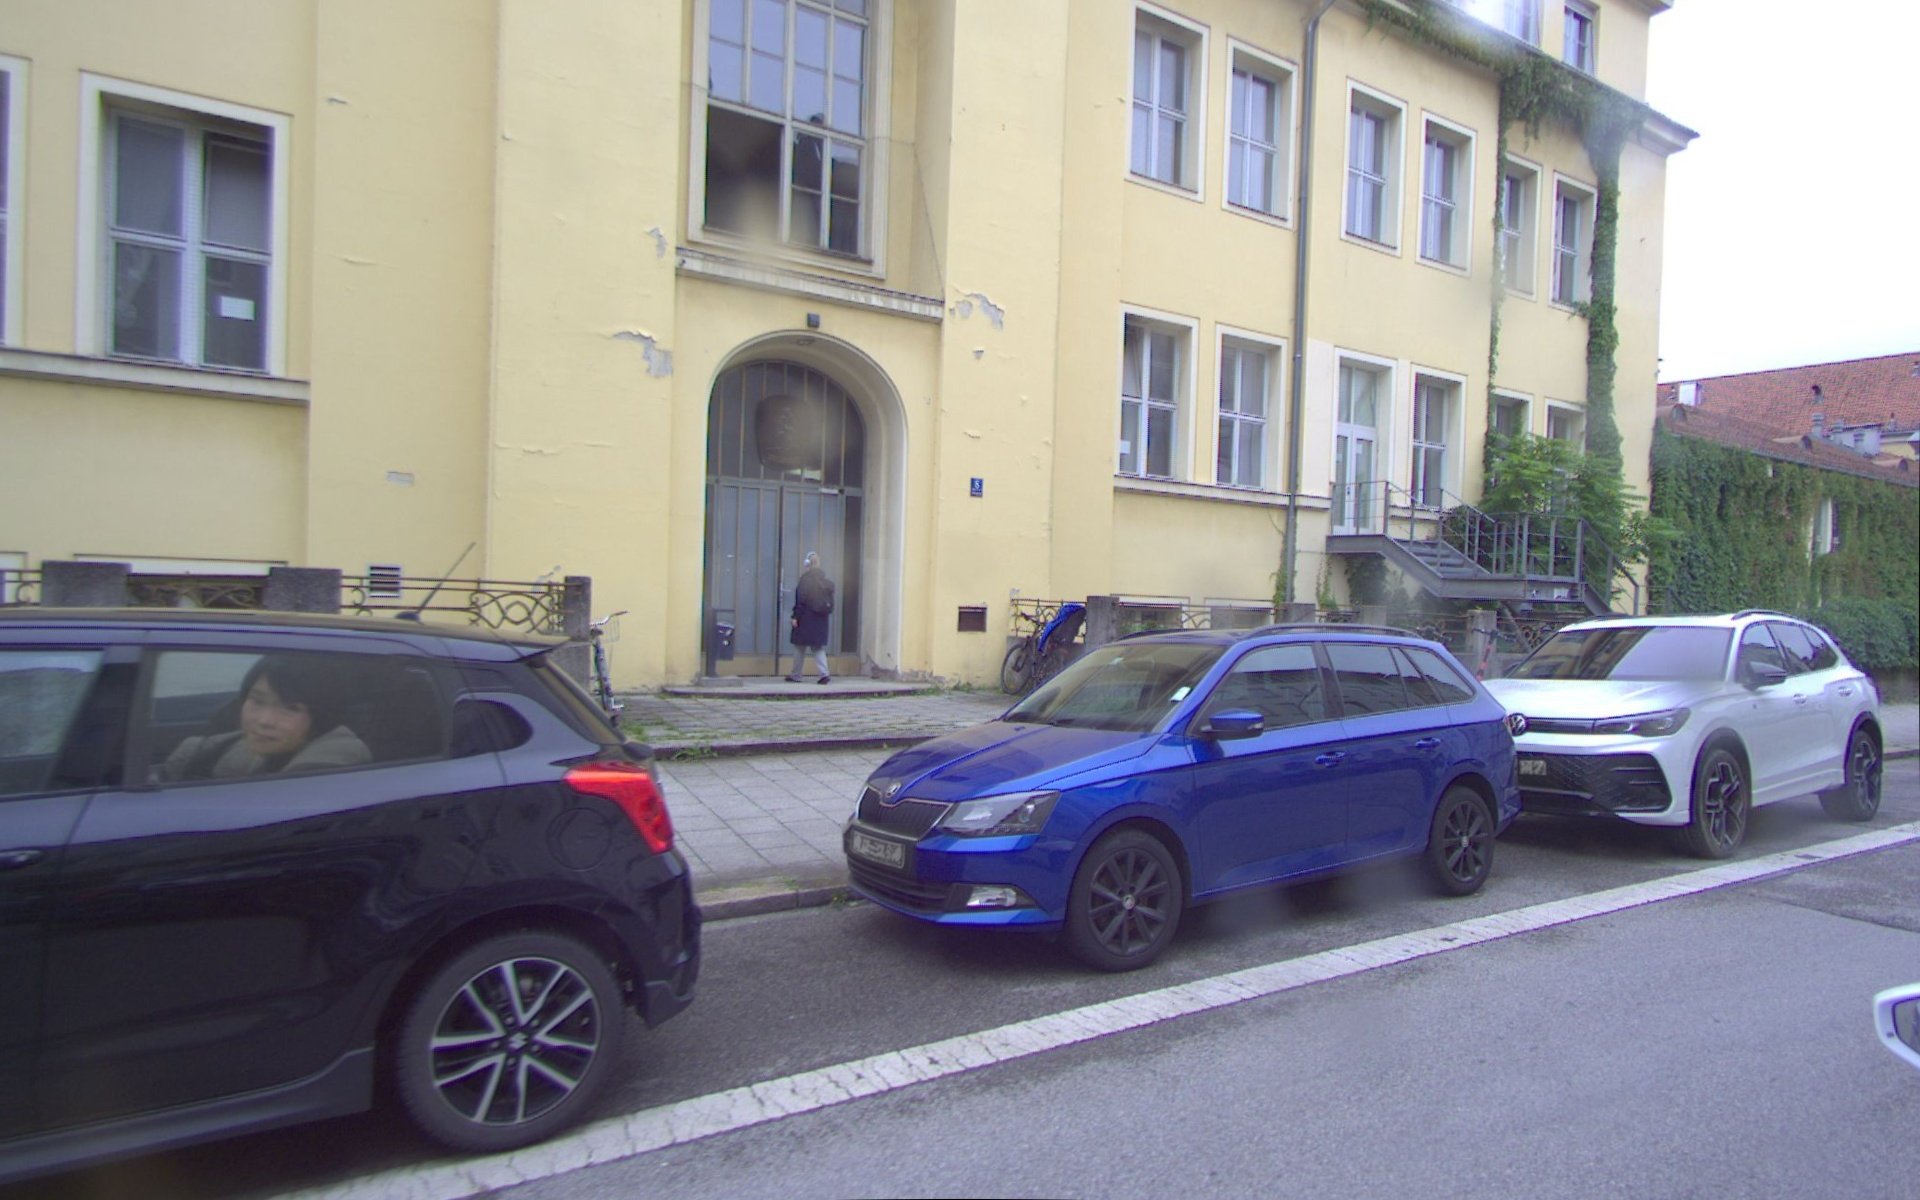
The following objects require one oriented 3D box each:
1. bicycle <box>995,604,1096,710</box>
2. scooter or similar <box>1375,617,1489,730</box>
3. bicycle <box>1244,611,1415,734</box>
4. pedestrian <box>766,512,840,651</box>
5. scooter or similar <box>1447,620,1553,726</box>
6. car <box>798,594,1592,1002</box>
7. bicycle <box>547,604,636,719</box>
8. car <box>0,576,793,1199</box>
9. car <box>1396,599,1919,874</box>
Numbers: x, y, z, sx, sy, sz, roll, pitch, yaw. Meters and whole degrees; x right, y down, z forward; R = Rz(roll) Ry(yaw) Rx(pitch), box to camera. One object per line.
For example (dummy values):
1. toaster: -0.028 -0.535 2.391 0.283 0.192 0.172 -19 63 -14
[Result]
1. bicycle: 1.092 0.705 13.192 0.520 1.285 1.619 1 0 -28
2. scooter or similar: 6.120 0.929 13.009 1.483 1.387 0.557 2 0 -29
3. bicycle: 4.419 0.840 11.970 2.088 1.346 0.678 2 1 -29
4. pedestrian: -2.040 -0.224 13.176 0.887 1.742 1.057 1 0 -7
5. scooter or similar: 7.432 0.982 13.804 1.483 1.387 0.557 2 0 -29
6. car: 1.478 0.872 5.675 4.444 1.521 1.695 2 -5 -31
7. bicycle: -3.794 0.588 10.267 0.422 1.064 1.645 1 0 -35
8. car: -2.708 0.736 2.811 4.099 1.516 1.692 2 -3 -30
9. car: 5.758 0.896 8.074 4.803 1.655 1.736 2 -1 -32
